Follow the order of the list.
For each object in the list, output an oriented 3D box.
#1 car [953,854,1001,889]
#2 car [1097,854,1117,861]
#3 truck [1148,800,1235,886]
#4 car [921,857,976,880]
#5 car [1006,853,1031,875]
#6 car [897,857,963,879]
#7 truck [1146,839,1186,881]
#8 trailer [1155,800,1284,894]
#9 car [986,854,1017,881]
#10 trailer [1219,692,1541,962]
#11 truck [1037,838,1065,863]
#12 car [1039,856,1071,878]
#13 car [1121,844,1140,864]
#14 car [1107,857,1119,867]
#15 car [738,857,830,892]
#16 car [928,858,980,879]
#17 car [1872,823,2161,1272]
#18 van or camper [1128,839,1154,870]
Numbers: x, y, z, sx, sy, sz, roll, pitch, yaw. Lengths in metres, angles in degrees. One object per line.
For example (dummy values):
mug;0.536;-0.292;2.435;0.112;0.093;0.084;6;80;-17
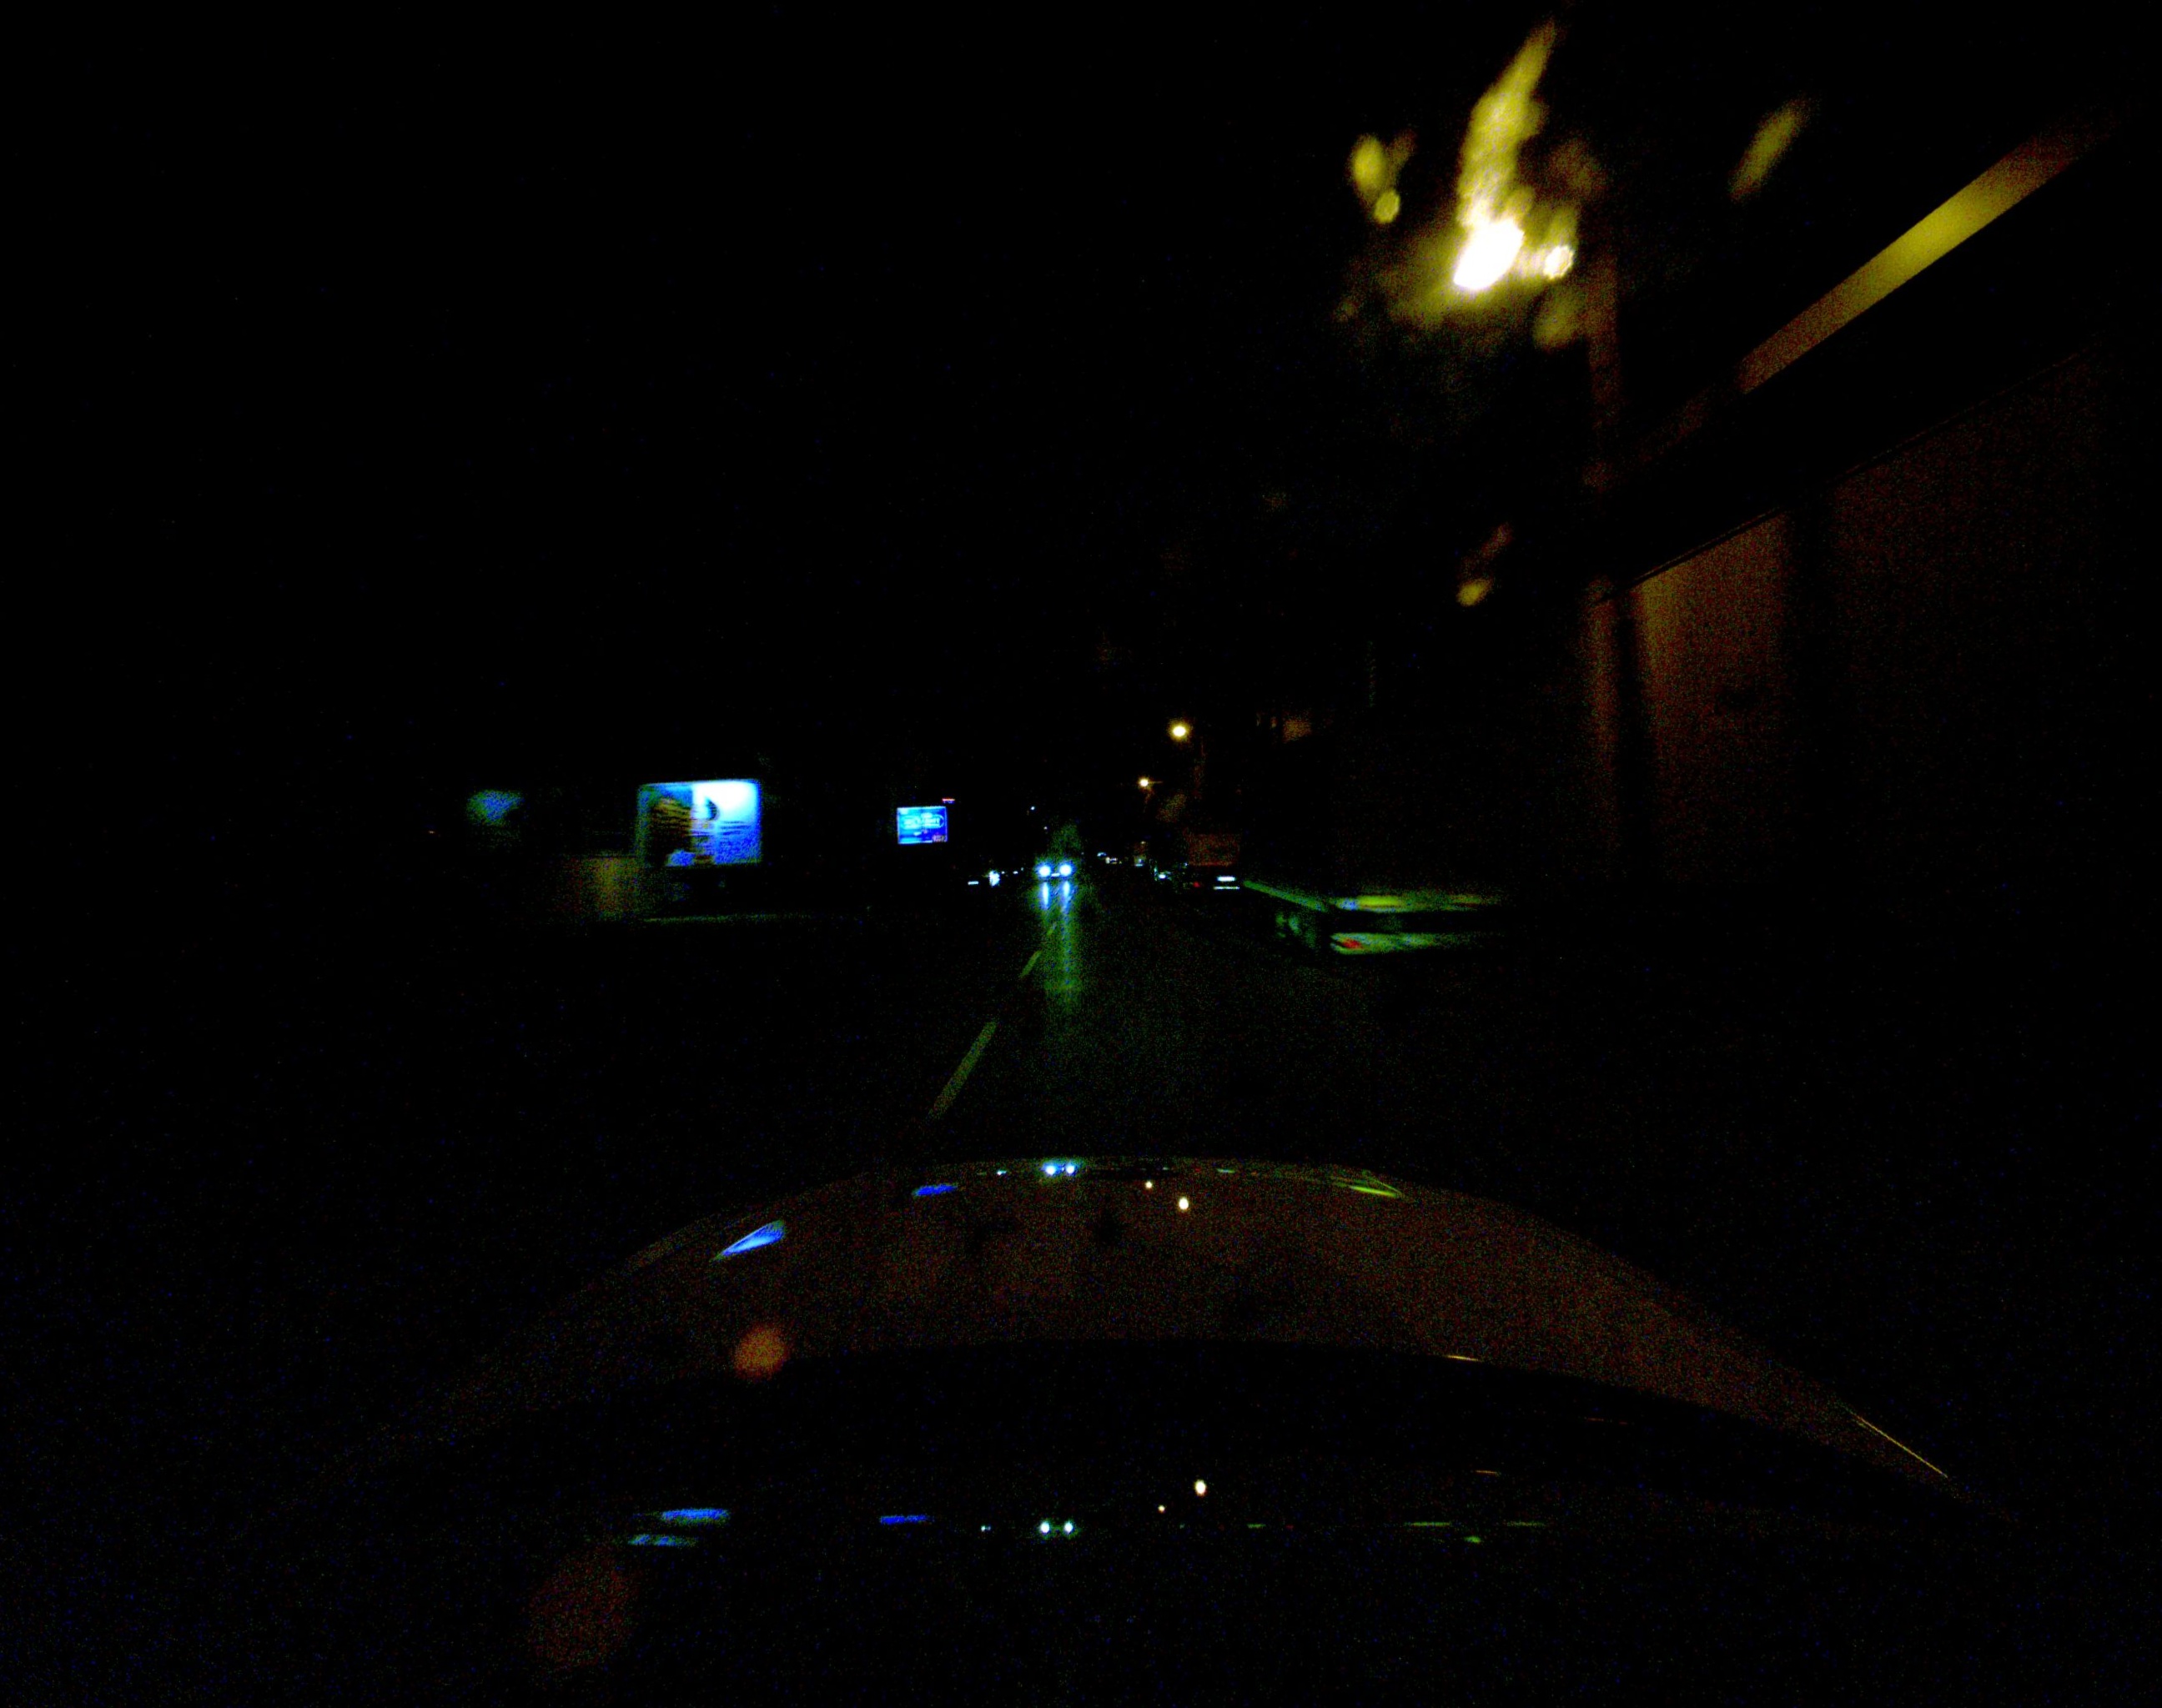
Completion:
car;-5.680;0.936;45.058;1.986;1.794;4.001;-2;0;1
car;6.036;0.884;187.252;4.510;1.379;2.002;-2;-1;4
truck;4.977;-0.430;38.027;3.140;3.463;6.674;-3;-1;1
car;-10.864;1.196;66.856;4.007;1.594;1.983;-3;-1;-25
car;-5.376;0.855;70.539;1.892;1.736;4.352;-2;0;-2
car;-11.393;1.024;61.403;4.631;1.485;1.986;-2;0;-21
truck;5.167;0.364;50.187;1.986;2.407;5.294;-2;0;1
trailer;4.823;-0.157;30.880;3.173;2.749;10.717;-4;-1;1
car;-5.415;0.906;55.749;1.673;1.736;4.354;-2;0;0
trailer;4.580;-0.316;14.556;2.679;3.464;7.805;-2;-1;-1
truck;-4.564;-0.488;122.037;3.883;3.621;8.248;-2;0;-4
car;-1.770;0.889;56.831;1.986;1.398;4.001;-2;0;1
car;5.600;-0.034;92.335;1.986;2.145;4.001;-2;0;1
car;5.532;1.415;142.702;1.986;1.684;4.001;-2;0;1
car;-15.281;1.037;42.107;3.976;1.651;1.999;-2;0;-2
car;-10.901;1.241;69.816;4.007;1.594;1.983;-3;-1;-25
car;4.574;0.616;1.848;1.846;1.519;3.819;-4;-1;2
van or camper;5.273;0.047;71.889;1.986;2.581;4.917;-2;0;2
